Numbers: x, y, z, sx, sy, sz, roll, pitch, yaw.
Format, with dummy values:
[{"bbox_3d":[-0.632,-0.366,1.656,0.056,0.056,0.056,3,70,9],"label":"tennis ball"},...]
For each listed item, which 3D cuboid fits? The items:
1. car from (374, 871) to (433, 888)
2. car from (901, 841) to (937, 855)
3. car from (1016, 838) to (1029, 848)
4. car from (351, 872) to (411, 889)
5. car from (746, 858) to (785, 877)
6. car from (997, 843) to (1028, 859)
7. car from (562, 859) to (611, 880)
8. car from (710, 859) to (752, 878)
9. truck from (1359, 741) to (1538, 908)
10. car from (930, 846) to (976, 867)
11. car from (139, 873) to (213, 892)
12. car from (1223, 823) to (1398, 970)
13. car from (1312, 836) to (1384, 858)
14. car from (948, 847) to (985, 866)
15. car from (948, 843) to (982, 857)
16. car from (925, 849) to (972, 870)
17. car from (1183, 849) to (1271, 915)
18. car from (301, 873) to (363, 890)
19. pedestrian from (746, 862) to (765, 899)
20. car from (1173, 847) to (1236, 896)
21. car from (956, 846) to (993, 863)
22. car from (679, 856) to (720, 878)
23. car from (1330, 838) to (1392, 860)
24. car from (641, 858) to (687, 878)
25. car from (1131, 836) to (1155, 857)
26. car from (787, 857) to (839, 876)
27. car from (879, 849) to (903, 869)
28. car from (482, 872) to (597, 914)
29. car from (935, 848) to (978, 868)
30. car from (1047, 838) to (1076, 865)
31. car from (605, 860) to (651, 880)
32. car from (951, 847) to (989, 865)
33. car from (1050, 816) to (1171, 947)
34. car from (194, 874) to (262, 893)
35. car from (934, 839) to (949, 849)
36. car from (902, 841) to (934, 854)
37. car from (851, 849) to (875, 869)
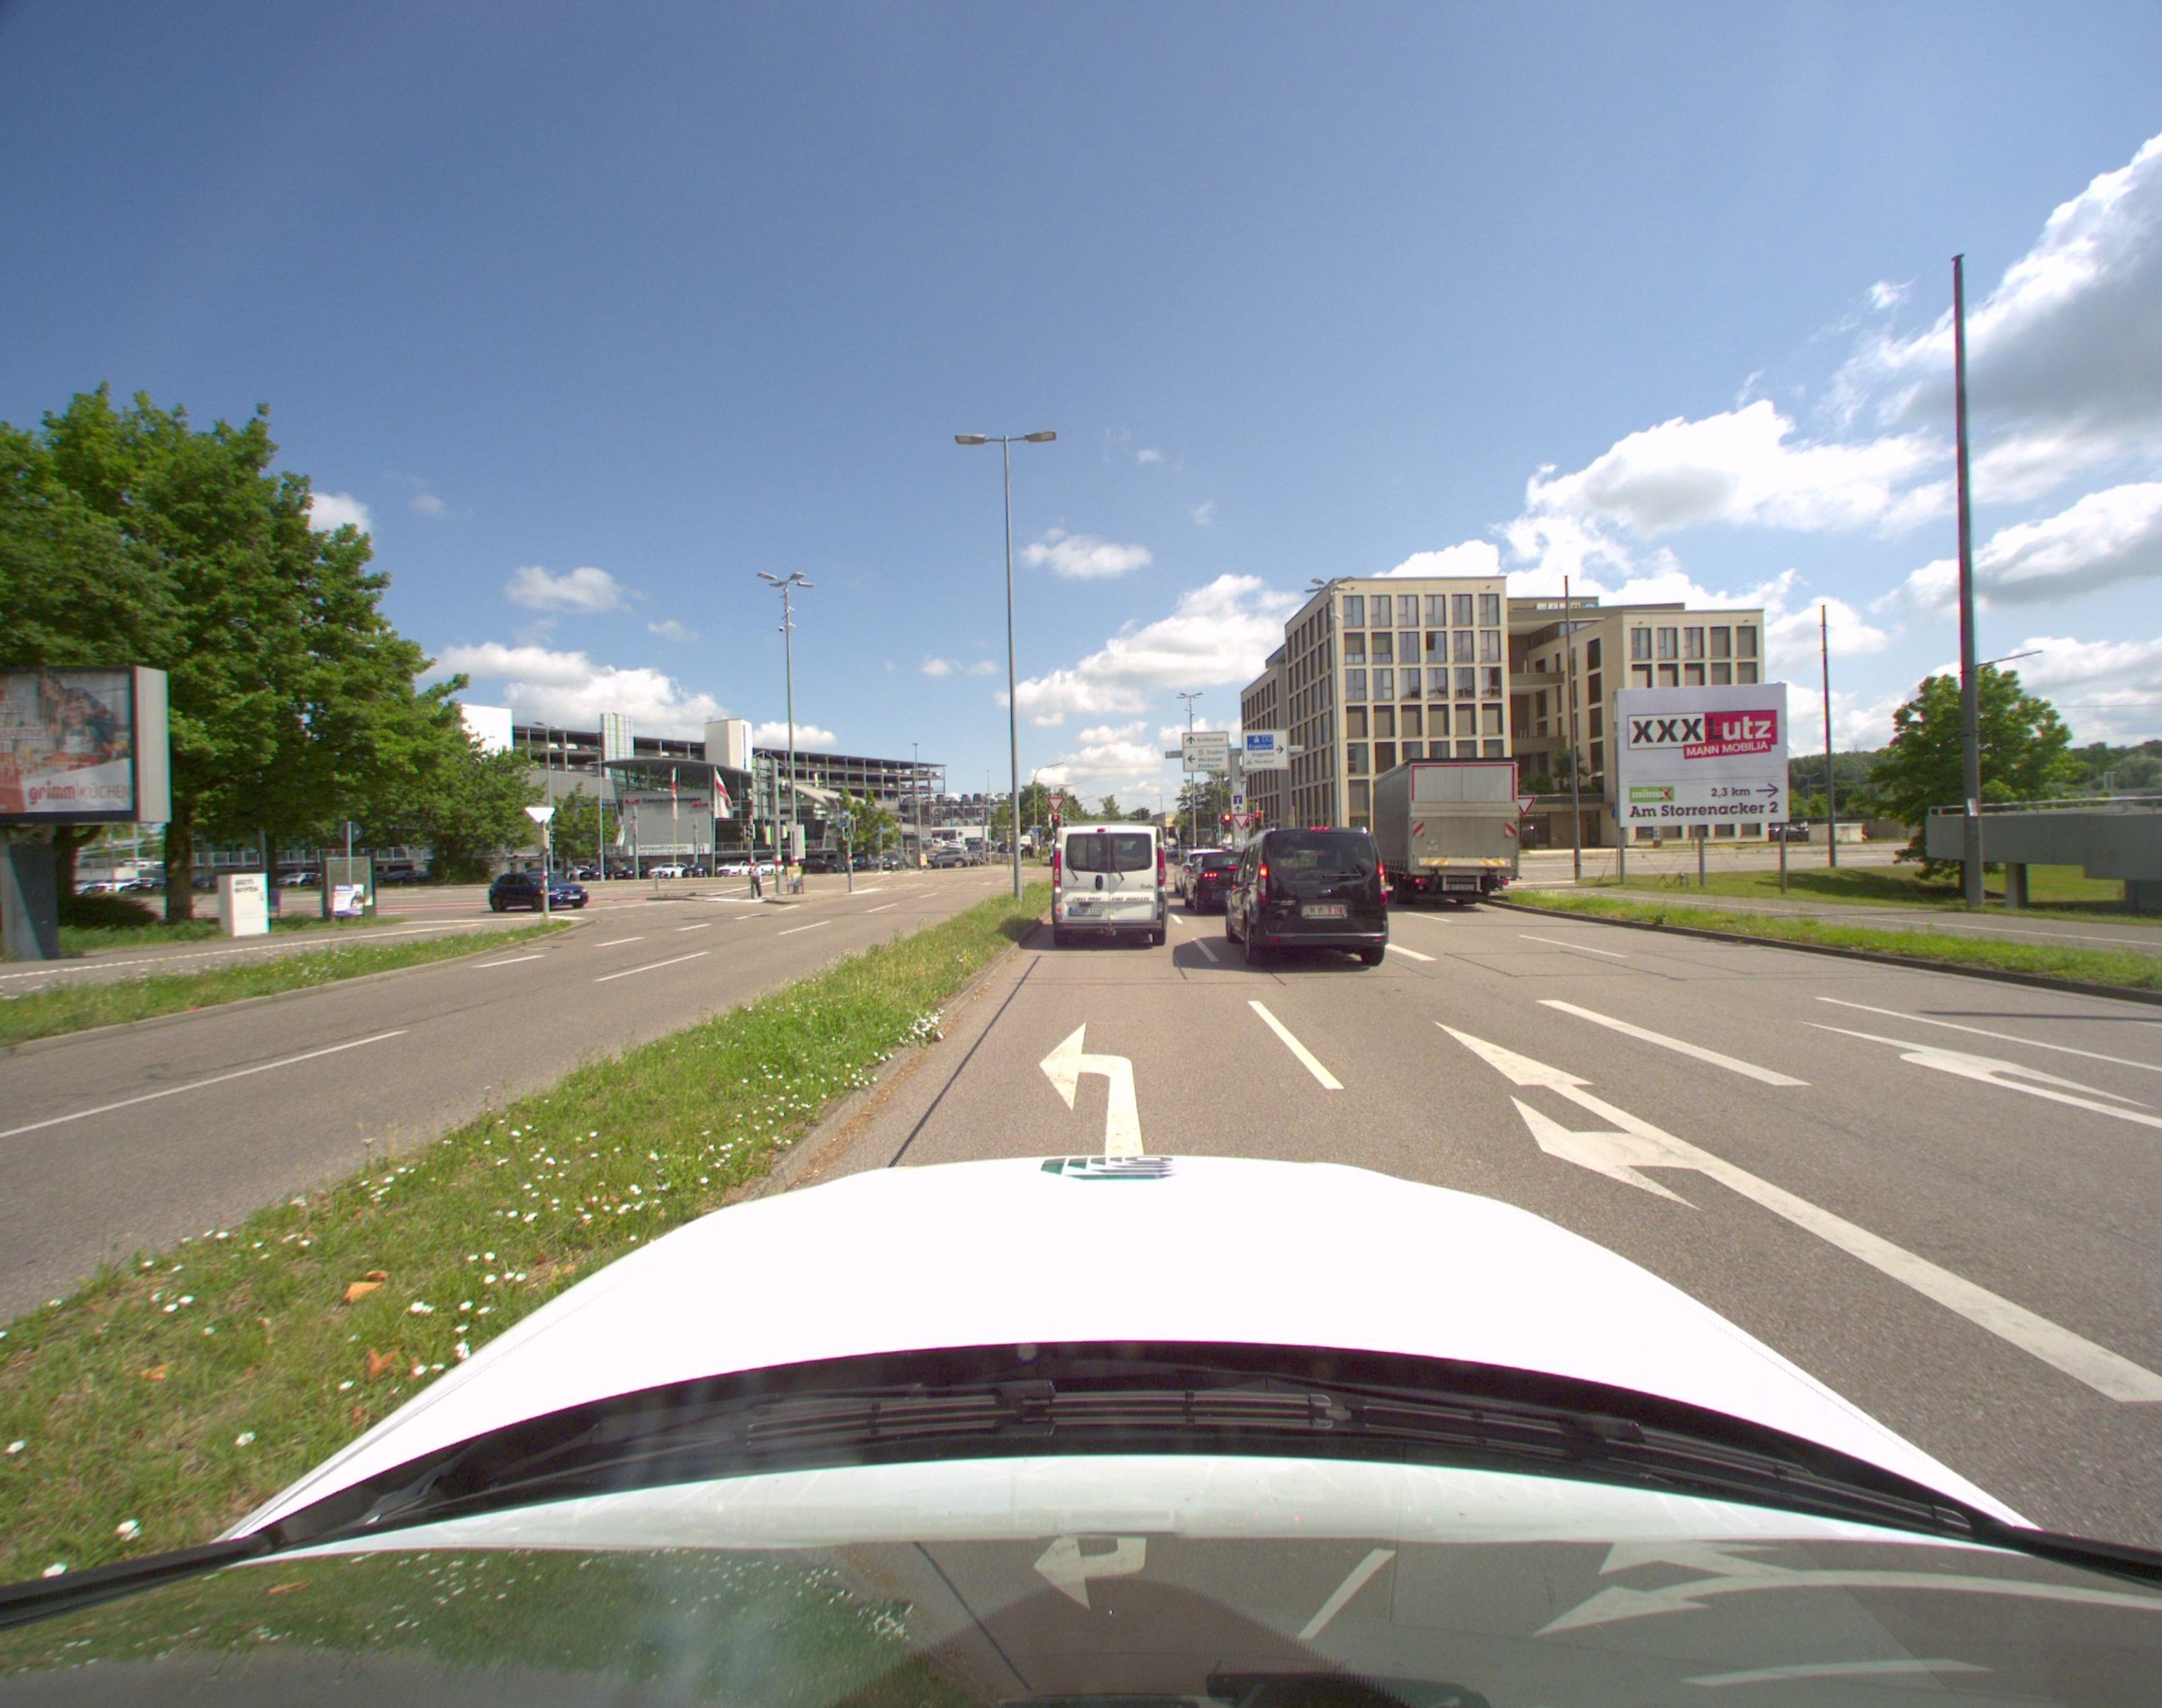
[{"bbox_3d":[-53.034,1.987,63.844,1.585,1.191,3.506,-1,0,2],"label":"car"},{"bbox_3d":[-20.380,-0.754,102.588,4.156,1.713,1.686,-1,0,-4],"label":"car"},{"bbox_3d":[-9.056,-1.738,125.614,1.841,1.530,3.997,-1,1,-2],"label":"car"},{"bbox_3d":[-54.820,2.061,63.839,1.585,1.191,3.506,-1,0,2],"label":"car"},{"bbox_3d":[-26.283,1.099,67.972,1.771,1.450,4.027,-1,1,-2],"label":"car"},{"bbox_3d":[-8.796,-0.387,104.648,3.980,1.926,1.824,-1,0,-5],"label":"car"},{"bbox_3d":[-40.949,1.287,67.560,1.810,1.664,3.791,-1,0,-2],"label":"car"},{"bbox_3d":[-28.984,1.185,67.505,1.902,1.376,3.750,-1,1,-2],"label":"car"},{"bbox_3d":[10.291,-0.766,23.935,3.108,3.940,8.891,-1,1,13],"label":"truck"},{"bbox_3d":[-11.849,0.250,75.642,3.902,1.712,1.688,-3,1,-2],"label":"car"},{"bbox_3d":[-72.531,2.248,65.353,1.691,1.390,3.733,-1,0,2],"label":"car"},{"bbox_3d":[3.196,0.514,12.132,1.811,1.808,4.006,0,0,5],"label":"car"},{"bbox_3d":[20.701,-0.580,63.206,4.968,1.607,2.000,-1,1,-1],"label":"car"},{"bbox_3d":[-11.771,0.275,83.719,3.499,1.712,1.602,-3,1,-2],"label":"car"},{"bbox_3d":[-14.842,-0.537,104.070,4.157,1.712,1.687,0,1,-4],"label":"car"},{"bbox_3d":[-11.901,0.454,73.241,3.851,1.639,1.857,-3,1,-2],"label":"car"},{"bbox_3d":[3.645,0.639,20.893,1.733,1.495,4.003,0,1,3],"label":"car"},{"bbox_3d":[-59.526,2.193,64.817,1.585,1.191,3.506,-1,0,2],"label":"car"},{"bbox_3d":[-13.507,1.093,33.810,0.464,1.512,0.515,-1,0,27],"label":"pedestrian"},{"bbox_3d":[4.116,0.568,27.707,1.733,1.543,4.003,0,0,3],"label":"car"},{"bbox_3d":[-12.094,0.028,92.538,3.902,1.712,1.688,-3,1,-2],"label":"car"},{"bbox_3d":[-31.557,1.061,67.481,1.752,1.660,3.614,-1,1,-2],"label":"car"},{"bbox_3d":[20.314,-0.392,59.172,3.880,1.490,1.795,-1,1,1],"label":"car"},{"bbox_3d":[-34.377,1.125,67.241,1.874,1.486,3.698,-1,1,-2],"label":"car"},{"bbox_3d":[7.017,-0.885,92.799,1.989,2.255,5.509,-1,1,-3],"label":"car"},{"bbox_3d":[-22.230,1.039,67.621,3.784,1.513,1.677,-1,1,-3],"label":"car"},{"bbox_3d":[-15.975,0.406,68.380,1.820,1.552,3.980,-1,0,-15],"label":"car"},{"bbox_3d":[-22.822,1.635,34.337,3.953,1.509,2.011,-2,1,20],"label":"car"},{"bbox_3d":[-12.214,0.355,80.302,3.902,1.712,1.688,-3,1,-2],"label":"car"},{"bbox_3d":[-1.727,-0.248,74.185,1.962,2.256,4.988,-3,1,5],"label":"car"},{"bbox_3d":[-37.245,1.281,67.081,1.723,1.486,3.699,-1,1,-2],"label":"car"},{"bbox_3d":[-12.075,0.202,88.885,3.902,1.712,1.688,-3,1,-2],"label":"car"},{"bbox_3d":[0.602,0.434,14.616,1.847,2.018,4.005,0,0,4],"label":"car"},{"bbox_3d":[-67.321,2.321,64.355,1.585,1.390,3.506,-1,0,2],"label":"car"},{"bbox_3d":[-21.723,-1.609,126.952,1.841,1.530,3.997,-1,1,-2],"label":"car"},{"bbox_3d":[-22.498,-0.914,112.568,4.156,1.713,1.686,-1,0,-4],"label":"car"},{"bbox_3d":[-18.242,0.401,68.211,1.820,1.552,3.980,-1,0,-15],"label":"car"}]
